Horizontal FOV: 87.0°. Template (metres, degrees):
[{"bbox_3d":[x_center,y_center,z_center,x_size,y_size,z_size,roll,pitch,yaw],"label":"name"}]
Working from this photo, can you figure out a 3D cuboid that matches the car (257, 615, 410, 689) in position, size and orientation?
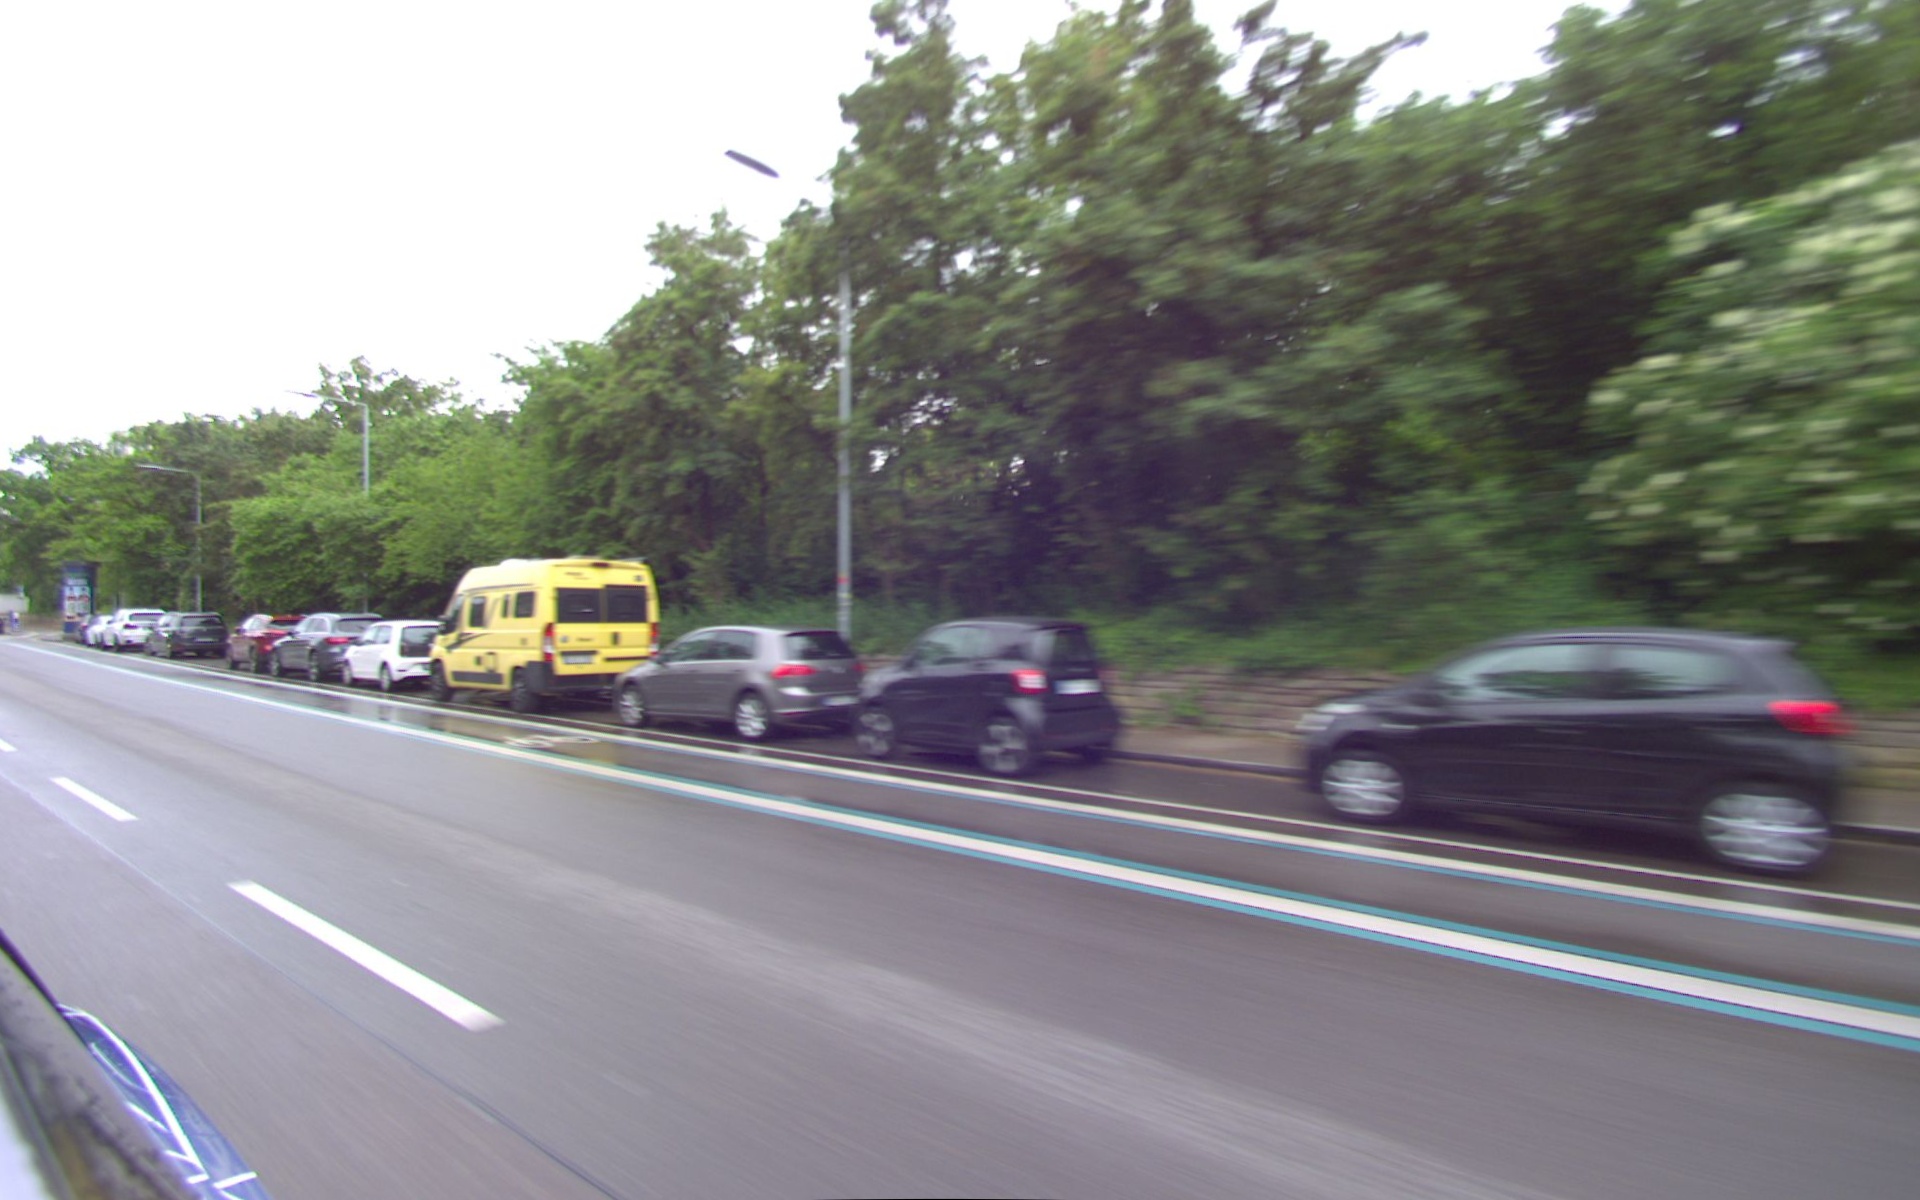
[{"bbox_3d":[-15.943,1.246,25.657,4.612,1.713,1.973,-1,-2,40],"label":"car"}]

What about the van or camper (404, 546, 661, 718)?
[{"bbox_3d":[-7.844,0.556,18.245,5.682,2.647,2.120,-2,-2,43],"label":"van or camper"}]

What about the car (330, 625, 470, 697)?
[{"bbox_3d":[-12.437,1.301,22.405,3.656,1.460,1.600,-1,-3,42],"label":"car"}]

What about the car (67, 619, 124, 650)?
[{"bbox_3d":[-42.916,1.689,50.194,4.588,1.456,1.729,-1,-1,44],"label":"car"}]

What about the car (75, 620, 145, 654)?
[{"bbox_3d":[-39.056,1.673,46.465,4.705,1.471,1.701,-1,-1,41],"label":"car"}]

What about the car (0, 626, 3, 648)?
[{"bbox_3d":[-65.886,2.467,67.995,4.780,1.425,1.886,0,1,41],"label":"car"}]

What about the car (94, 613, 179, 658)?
[{"bbox_3d":[-34.612,1.451,42.488,4.958,1.779,1.973,-1,-1,41],"label":"car"}]

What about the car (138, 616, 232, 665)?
[{"bbox_3d":[-28.431,1.451,37.079,4.565,1.661,1.714,-1,-1,39],"label":"car"}]

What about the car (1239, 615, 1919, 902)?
[{"bbox_3d":[4.218,0.890,7.288,3.976,1.521,1.585,-2,-2,43],"label":"car"}]

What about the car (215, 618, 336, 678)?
[{"bbox_3d":[-19.956,1.342,29.428,4.489,1.629,1.898,-1,-2,42],"label":"car"}]

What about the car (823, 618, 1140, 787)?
[{"bbox_3d":[0.149,0.970,10.824,3.139,1.521,1.585,-2,-2,43],"label":"car"}]

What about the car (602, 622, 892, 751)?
[{"bbox_3d":[-3.008,1.074,13.841,4.145,1.510,1.662,-1,-2,40],"label":"car"}]
